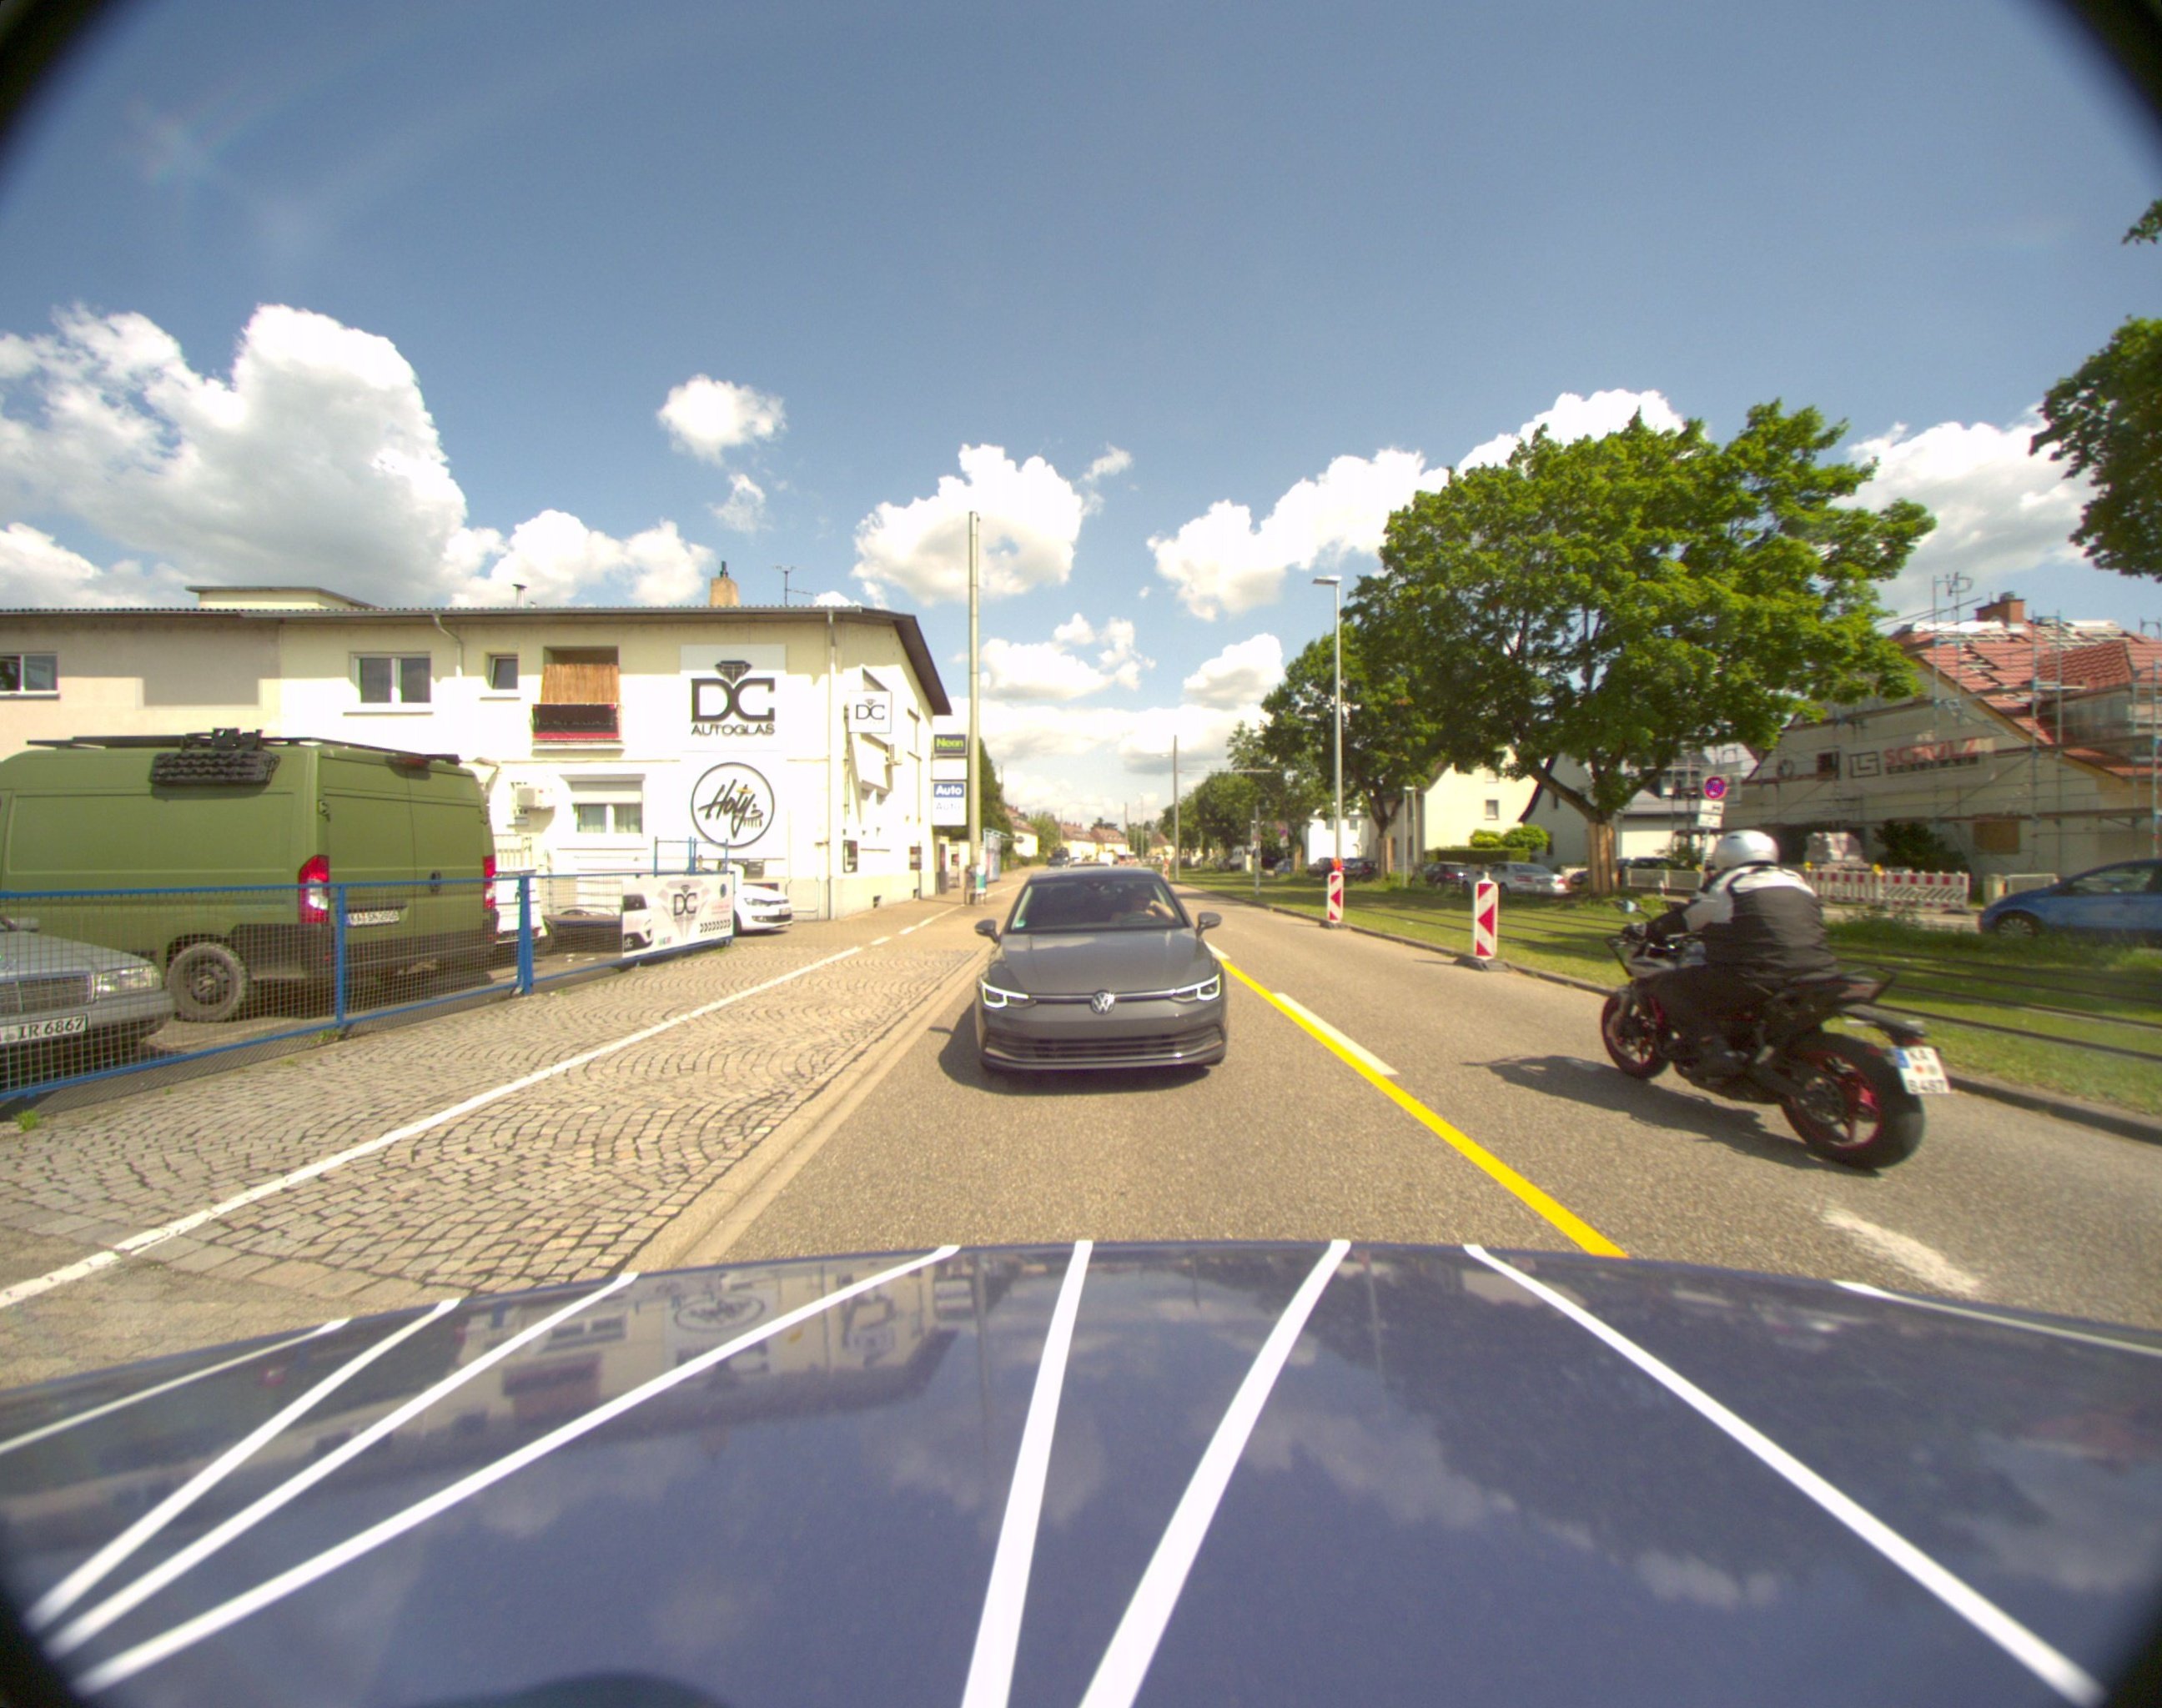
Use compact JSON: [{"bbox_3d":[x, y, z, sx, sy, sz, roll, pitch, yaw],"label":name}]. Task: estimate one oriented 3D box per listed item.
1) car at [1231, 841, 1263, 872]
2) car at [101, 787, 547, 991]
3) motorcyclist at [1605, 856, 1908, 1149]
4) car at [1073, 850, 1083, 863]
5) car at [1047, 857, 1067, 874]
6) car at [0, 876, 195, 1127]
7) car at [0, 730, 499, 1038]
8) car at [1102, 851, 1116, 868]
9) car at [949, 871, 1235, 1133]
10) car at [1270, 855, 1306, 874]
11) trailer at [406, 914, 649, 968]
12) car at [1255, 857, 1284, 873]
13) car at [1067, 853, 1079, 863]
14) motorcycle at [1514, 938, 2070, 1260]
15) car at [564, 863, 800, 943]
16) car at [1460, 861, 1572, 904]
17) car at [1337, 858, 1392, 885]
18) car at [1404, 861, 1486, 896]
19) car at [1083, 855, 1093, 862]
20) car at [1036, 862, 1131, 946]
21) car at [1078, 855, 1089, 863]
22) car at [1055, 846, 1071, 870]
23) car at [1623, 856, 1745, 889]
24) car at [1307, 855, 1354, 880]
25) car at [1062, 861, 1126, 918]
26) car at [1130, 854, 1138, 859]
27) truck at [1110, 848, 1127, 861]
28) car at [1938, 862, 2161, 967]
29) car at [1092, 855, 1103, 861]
[{"bbox_3d":[16.811,0.267,77.267,2.136,3.019,5.084,-1,-1,1],"label":"car"},{"bbox_3d":[-9.505,0.420,9.753,4.207,2.392,1.586,0,0,2],"label":"car"},{"bbox_3d":[3.450,0.695,3.968,0.870,1.370,0.800,0,0,-2],"label":"motorcyclist"},{"bbox_3d":[-0.495,0.414,136.398,1.701,2.233,4.947,0,0,2],"label":"car"},{"bbox_3d":[-2.192,1.043,70.749,1.702,1.574,4.000,0,0,1],"label":"car"},{"bbox_3d":[-8.464,0.886,4.769,4.282,1.444,1.713,0,0,8],"label":"car"},{"bbox_3d":[-8.731,0.268,7.605,4.207,2.627,2.113,0,0,2],"label":"car"},{"bbox_3d":[4.180,0.763,114.438,2.090,2.449,5.842,2,0,2],"label":"car"},{"bbox_3d":[0.094,0.932,6.539,1.702,1.477,4.000,0,0,1],"label":"car"},{"bbox_3d":[16.638,0.869,61.277,1.702,1.477,4.407,-1,-1,1],"label":"car"},{"bbox_3d":[-8.373,1.304,11.655,2.733,0.662,1.329,0,0,-1],"label":"trailer"},{"bbox_3d":[17.640,1.071,71.323,1.702,1.477,4.407,-1,-1,1],"label":"car"},{"bbox_3d":[-1.321,0.667,123.035,1.701,1.574,4.001,0,0,3],"label":"car"},{"bbox_3d":[3.449,1.089,4.120,0.870,1.015,2.244,0,0,-2],"label":"motorcycle"},{"bbox_3d":[-7.667,0.913,14.813,3.775,1.454,1.555,0,0,2],"label":"car"},{"bbox_3d":[16.415,1.062,28.966,1.788,1.477,4.523,-1,-1,2],"label":"car"},{"bbox_3d":[16.764,1.030,45.151,1.702,1.477,4.407,-1,-1,1],"label":"car"},{"bbox_3d":[16.620,1.115,34.933,1.702,1.477,4.407,-1,-1,1],"label":"car"},{"bbox_3d":[1.436,0.899,155.833,1.701,1.574,4.002,0,0,7],"label":"car"},{"bbox_3d":[0.073,0.937,15.758,1.702,1.477,4.000,0,0,1],"label":"car"},{"bbox_3d":[0.478,0.896,146.702,1.701,1.574,4.002,0,0,6],"label":"car"},{"bbox_3d":[-1.919,0.444,82.434,1.702,2.510,5.144,0,0,0],"label":"car"},{"bbox_3d":[28.900,0.884,36.507,4.402,1.477,1.704,-1,-1,1],"label":"car"},{"bbox_3d":[16.548,0.893,50.657,1.702,1.562,4.407,-1,-1,1],"label":"car"},{"bbox_3d":[0.367,0.967,22.282,1.702,1.477,4.000,0,0,1],"label":"car"},{"bbox_3d":[15.868,0.791,226.374,1.700,1.574,4.005,0,0,16],"label":"car"},{"bbox_3d":[9.904,0.134,201.046,2.710,3.119,8.124,0,0,15],"label":"truck"},{"bbox_3d":[16.188,0.862,11.395,1.702,1.477,4.407,-1,-1,1],"label":"car"},{"bbox_3d":[3.815,0.905,173.472,1.700,1.574,4.004,0,0,12],"label":"car"}]
